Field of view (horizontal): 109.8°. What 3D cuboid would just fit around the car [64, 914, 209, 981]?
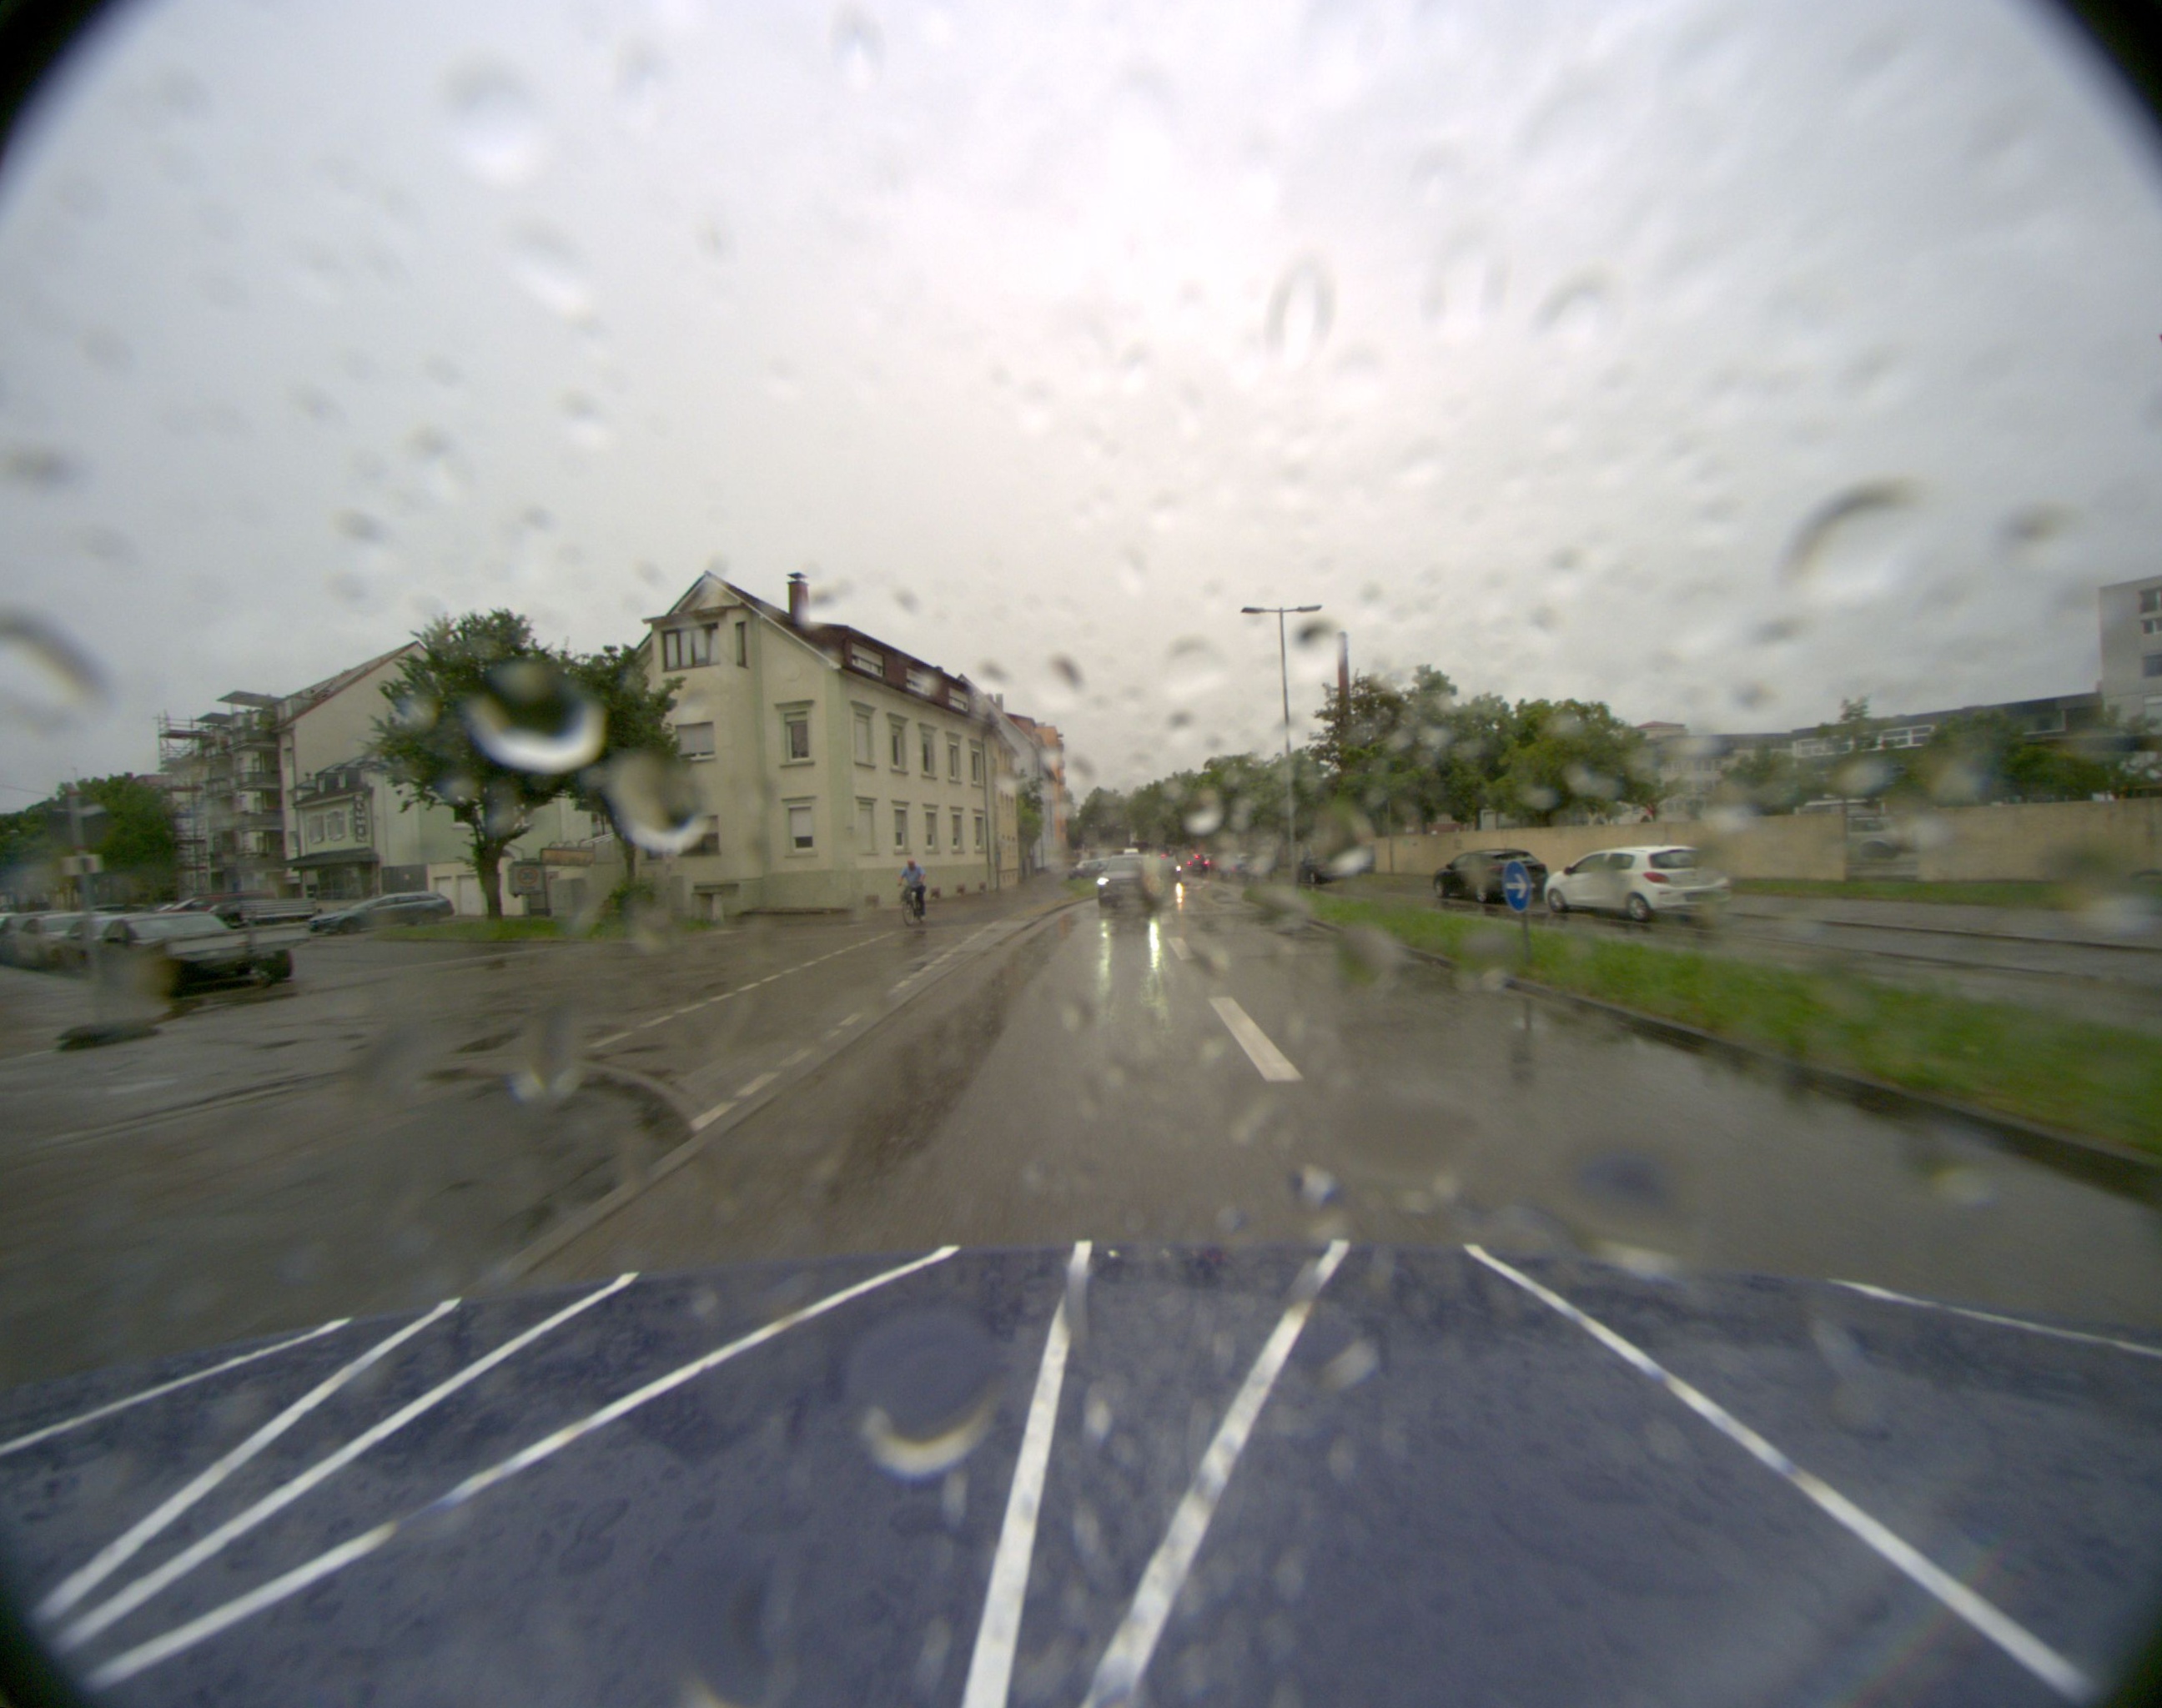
[{"bbox_3d":[-24.380,2.349,19.593,4.169,1.395,1.741,-3,1,31],"label":"car"}]

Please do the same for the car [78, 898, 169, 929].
[{"bbox_3d":[-74.035,4.567,58.790,1.995,2.002,4.006,-3,1,29],"label":"car"}]

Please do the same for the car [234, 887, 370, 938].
[{"bbox_3d":[-36.634,2.703,35.844,1.995,2.002,4.006,-3,1,29],"label":"car"}]

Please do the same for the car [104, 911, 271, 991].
[{"bbox_3d":[-19.636,2.049,16.668,3.990,1.395,1.741,-3,1,32],"label":"car"}]

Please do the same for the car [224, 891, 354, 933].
[{"bbox_3d":[-39.384,2.865,37.891,1.995,1.652,4.006,-3,1,29],"label":"car"}]

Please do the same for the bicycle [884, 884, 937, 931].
[{"bbox_3d":[-4.333,1.343,19.473,0.674,1.054,1.973,-3,0,5],"label":"bicycle"}]

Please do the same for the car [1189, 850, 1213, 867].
[{"bbox_3d":[12.565,0.446,79.665,1.882,1.672,4.037,-3,1,2],"label":"car"}]

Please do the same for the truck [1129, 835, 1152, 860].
[{"bbox_3d":[11.411,-1.294,146.655,3.832,4.359,10.786,-3,1,2],"label":"truck"}]

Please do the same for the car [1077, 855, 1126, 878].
[{"bbox_3d":[1.744,1.035,63.726,3.923,1.605,1.692,-3,1,3],"label":"car"}]

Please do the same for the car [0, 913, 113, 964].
[{"bbox_3d":[-34.526,2.810,25.577,4.169,1.420,1.741,-3,1,30],"label":"car"}]

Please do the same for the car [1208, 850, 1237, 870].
[{"bbox_3d":[12.157,0.500,65.377,1.628,1.589,3.797,-3,1,-2],"label":"car"}]

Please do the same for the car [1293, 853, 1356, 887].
[{"bbox_3d":[11.626,0.726,36.581,1.700,1.437,4.097,-4,0,1],"label":"car"}]

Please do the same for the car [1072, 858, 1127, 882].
[{"bbox_3d":[1.333,1.117,53.894,3.760,1.446,1.801,-3,-1,2],"label":"car"}]

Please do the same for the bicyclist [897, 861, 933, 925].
[{"bbox_3d":[-4.254,0.987,19.505,0.640,1.573,0.716,-3,0,5],"label":"bicyclist"}]

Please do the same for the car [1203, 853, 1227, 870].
[{"bbox_3d":[12.420,0.691,70.809,1.694,1.445,3.719,-3,1,3],"label":"car"}]

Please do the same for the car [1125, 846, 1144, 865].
[{"bbox_3d":[6.876,0.169,98.361,2.194,2.242,4.884,-3,1,2],"label":"car"}]

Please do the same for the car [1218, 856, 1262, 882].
[{"bbox_3d":[9.199,0.858,44.271,1.731,1.385,3.950,0,0,0],"label":"car"}]

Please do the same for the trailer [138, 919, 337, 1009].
[{"bbox_3d":[-15.864,1.936,14.231,4.522,1.224,1.828,-3,1,34],"label":"trailer"}]

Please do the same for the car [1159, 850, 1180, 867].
[{"bbox_3d":[10.326,0.494,88.868,2.070,1.732,4.175,-3,1,3],"label":"car"}]

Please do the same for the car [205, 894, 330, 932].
[{"bbox_3d":[-42.378,3.053,39.670,1.995,1.565,4.006,-3,1,29],"label":"car"}]

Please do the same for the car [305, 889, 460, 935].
[{"bbox_3d":[-29.647,2.426,32.456,1.734,1.525,4.472,-3,1,25],"label":"car"}]

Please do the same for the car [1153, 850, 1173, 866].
[{"bbox_3d":[10.158,0.462,94.554,2.070,1.732,4.174,-3,1,2],"label":"car"}]

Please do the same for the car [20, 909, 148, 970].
[{"bbox_3d":[-29.838,2.499,22.726,4.169,1.507,1.741,-3,1,30],"label":"car"}]

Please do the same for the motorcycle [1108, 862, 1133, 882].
[{"bbox_3d":[2.697,1.228,51.830,1.593,1.316,0.695,-3,0,1],"label":"motorcycle"}]

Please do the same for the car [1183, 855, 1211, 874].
[{"bbox_3d":[9.405,0.826,61.843,1.710,1.492,3.946,0,1,1],"label":"car"}]

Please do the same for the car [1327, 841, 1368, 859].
[{"bbox_3d":[30.231,-0.423,86.211,2.003,1.871,3.991,-4,1,-31],"label":"car"}]

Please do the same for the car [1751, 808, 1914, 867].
[{"bbox_3d":[28.065,-0.583,28.488,2.003,1.980,3.990,-4,1,-35],"label":"car"}]

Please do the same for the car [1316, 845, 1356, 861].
[{"bbox_3d":[28.055,-0.088,83.710,1.774,1.660,3.991,-4,1,-31],"label":"car"}]

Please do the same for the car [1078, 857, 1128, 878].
[{"bbox_3d":[1.790,1.081,61.270,3.923,1.472,1.857,-3,1,3],"label":"car"}]

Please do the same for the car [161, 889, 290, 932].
[{"bbox_3d":[-48.864,3.197,43.523,1.734,2.002,4.470,-3,1,26],"label":"car"}]

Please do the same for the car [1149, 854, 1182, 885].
[{"bbox_3d":[5.148,0.898,46.269,1.831,1.619,4.001,-3,1,6],"label":"car"}]

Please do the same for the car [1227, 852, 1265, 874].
[{"bbox_3d":[12.384,0.649,57.225,1.779,1.451,4.680,-3,0,0],"label":"car"}]

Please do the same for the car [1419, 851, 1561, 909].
[{"bbox_3d":[11.630,0.666,21.956,1.731,1.375,4.179,-5,0,0],"label":"car"}]

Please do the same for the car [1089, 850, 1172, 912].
[{"bbox_3d":[1.699,0.799,24.623,1.959,1.702,4.178,-3,1,13],"label":"car"}]

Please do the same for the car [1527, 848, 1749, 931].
[{"bbox_3d":[11.664,0.654,16.321,1.606,1.465,4.121,-3,0,-2],"label":"car"}]
